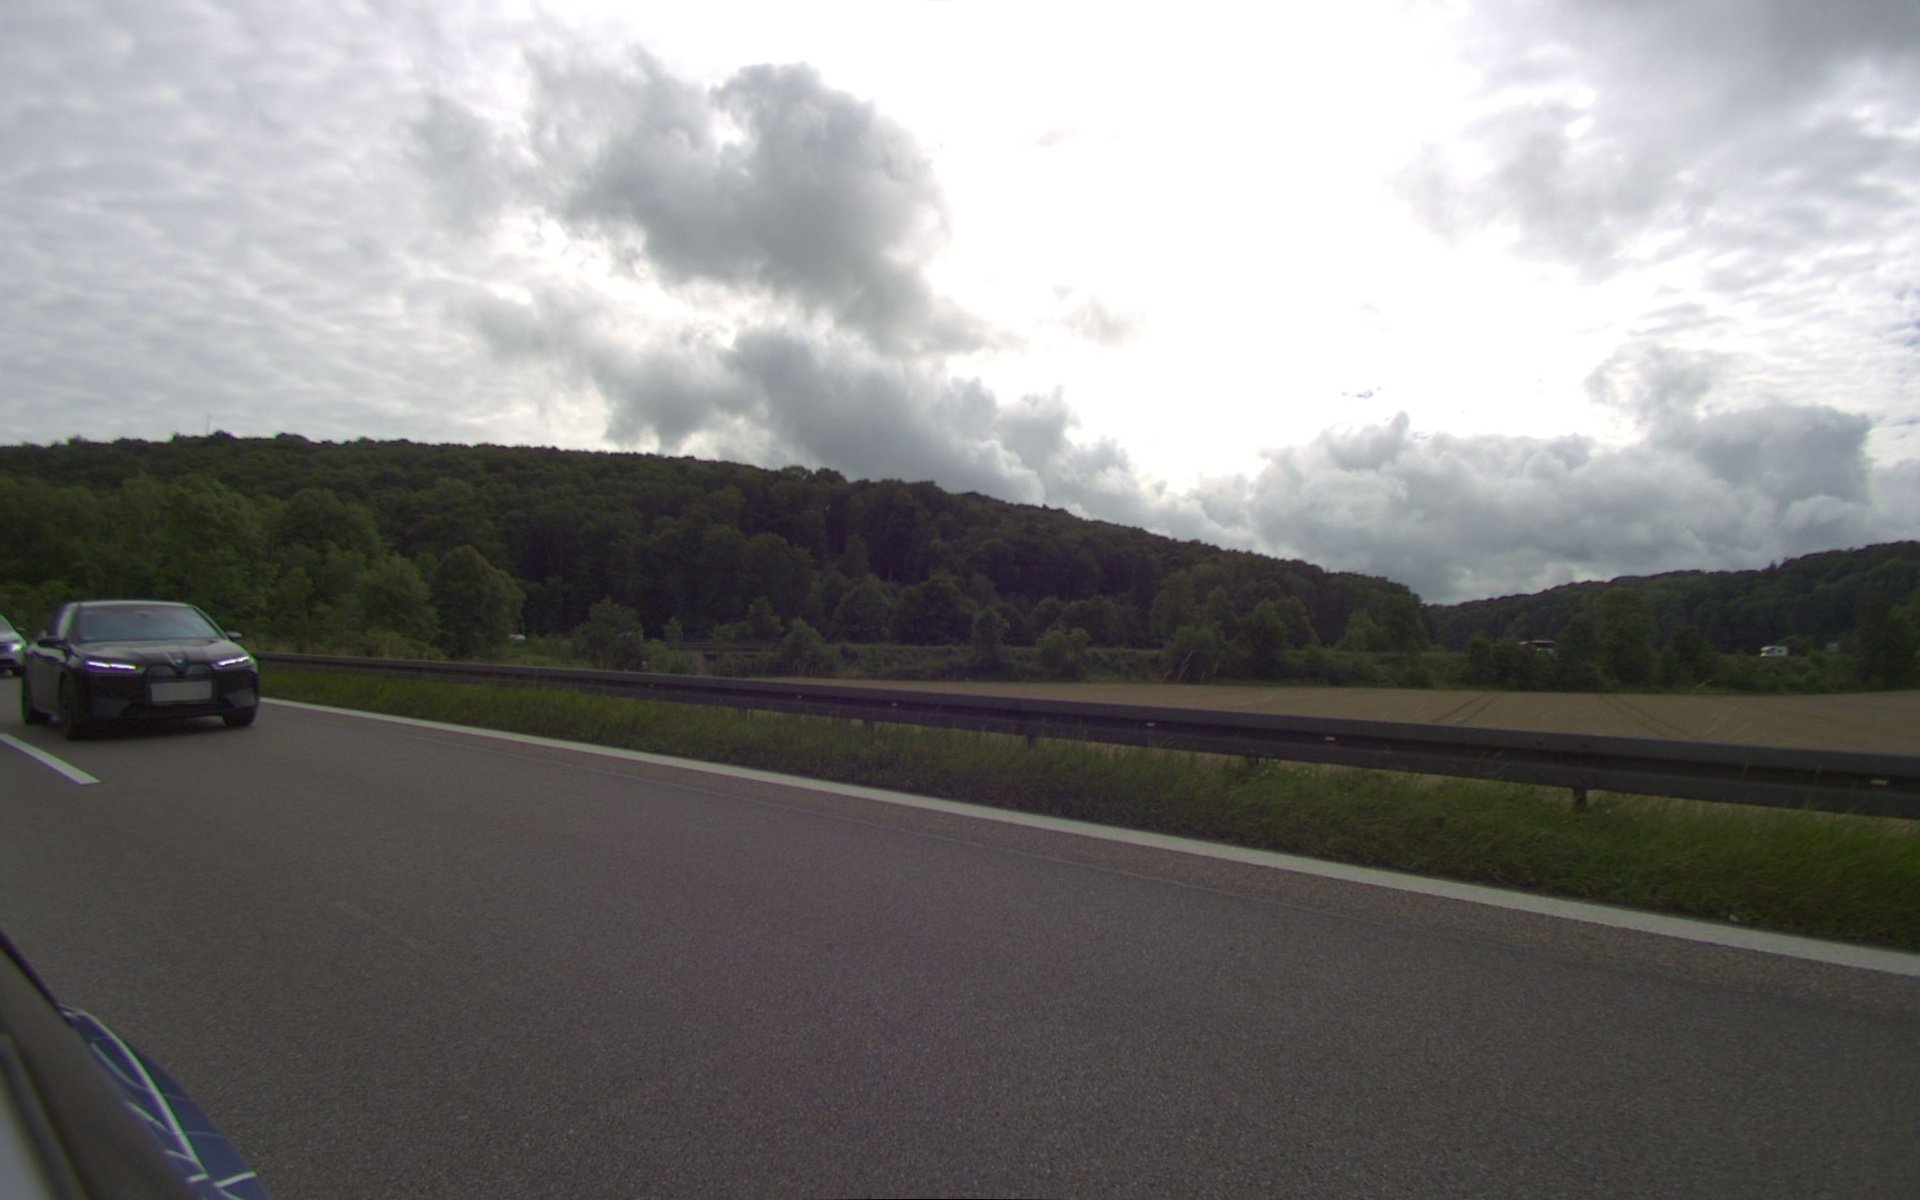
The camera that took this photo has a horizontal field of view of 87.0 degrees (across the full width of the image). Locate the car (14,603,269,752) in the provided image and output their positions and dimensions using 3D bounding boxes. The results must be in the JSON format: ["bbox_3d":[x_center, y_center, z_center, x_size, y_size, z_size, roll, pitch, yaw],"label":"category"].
[{"bbox_3d":[-11.149,0.910,13.681,4.413,1.678,1.973,-1,-1,41],"label":"car"}]

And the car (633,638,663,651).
[{"bbox_3d":[-54.165,7.732,175.736,4.392,1.822,2.001,3,-5,-3],"label":"car"}]

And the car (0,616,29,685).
[{"bbox_3d":[-25.770,1.269,26.174,4.412,1.678,1.973,0,-1,41],"label":"car"}]
